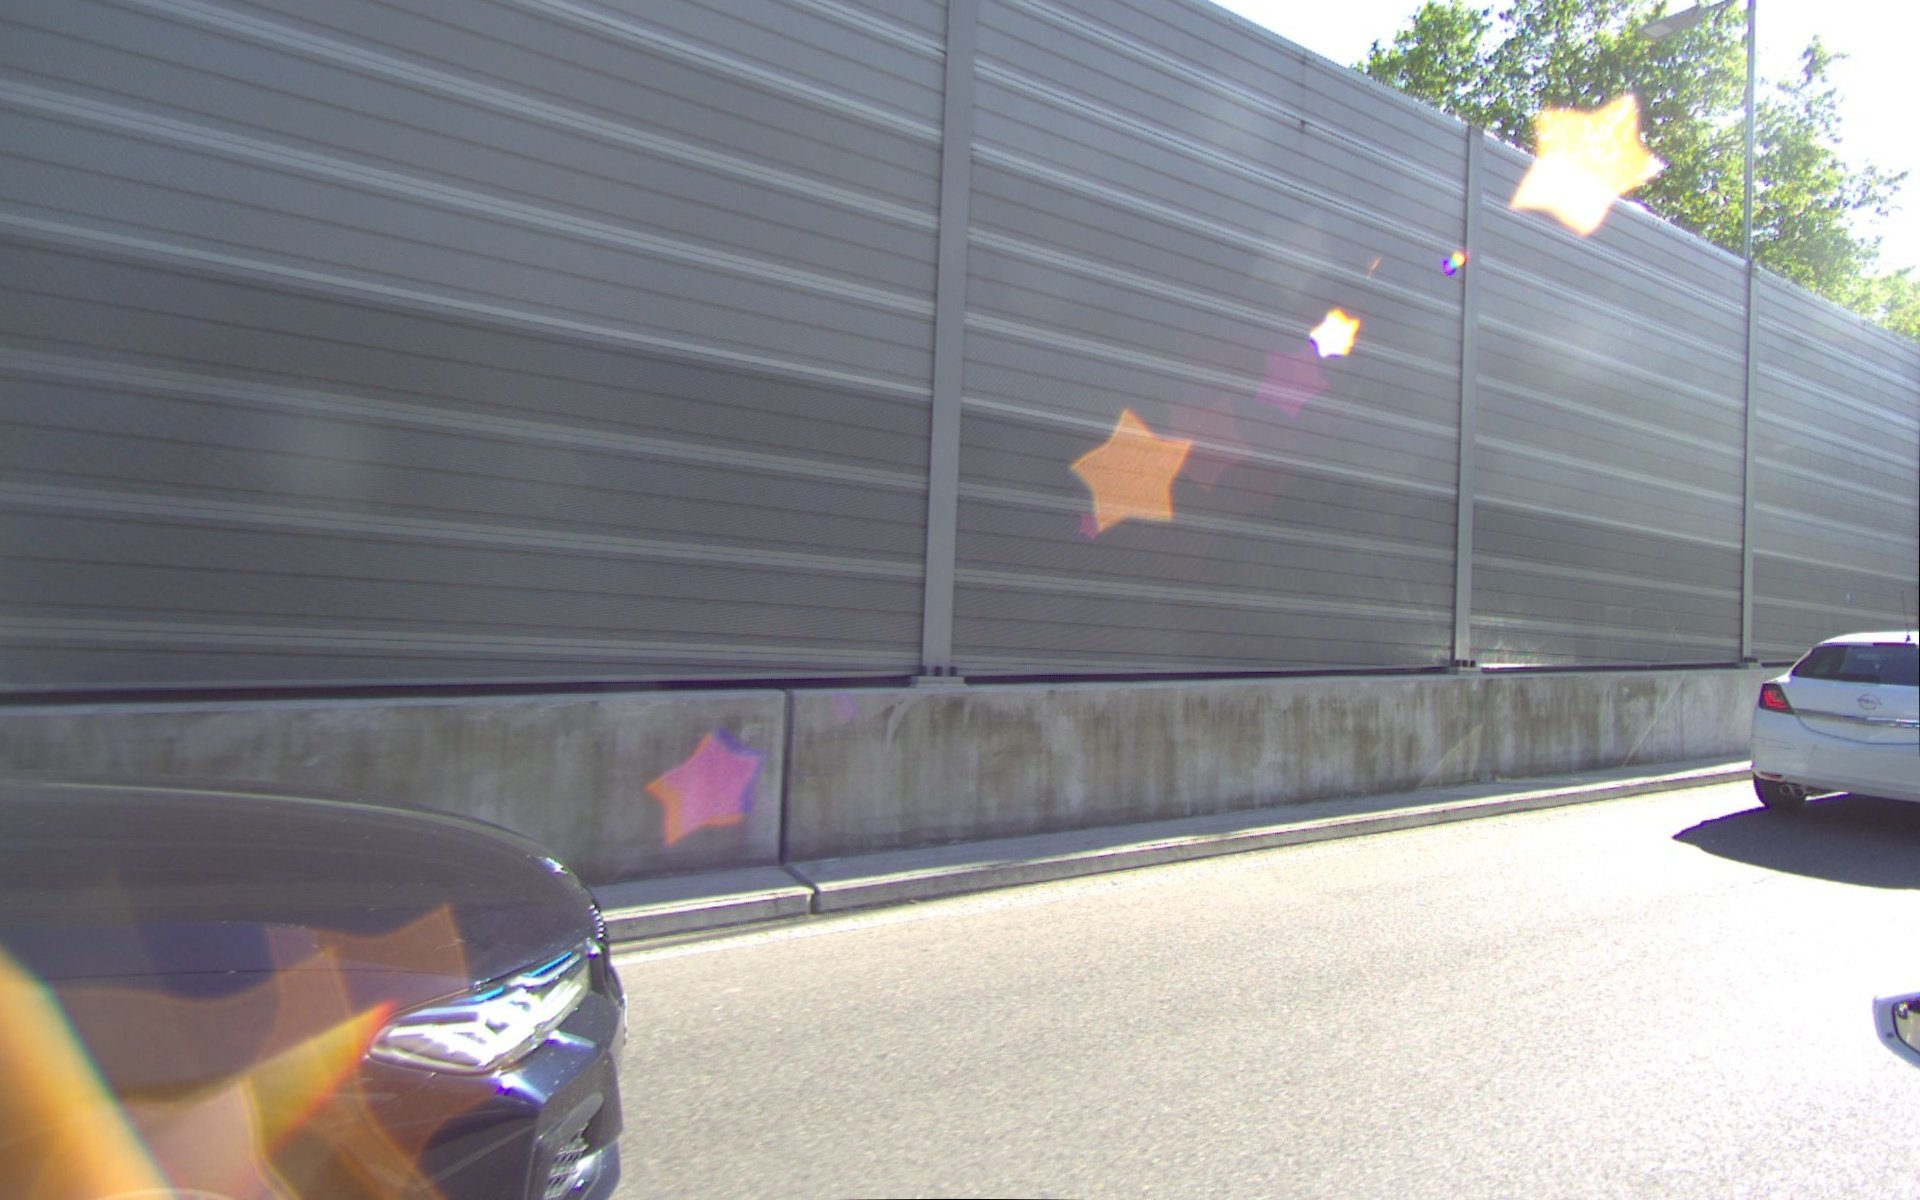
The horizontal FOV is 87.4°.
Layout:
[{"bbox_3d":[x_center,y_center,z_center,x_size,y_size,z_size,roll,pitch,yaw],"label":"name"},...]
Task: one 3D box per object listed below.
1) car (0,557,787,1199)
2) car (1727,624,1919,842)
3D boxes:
[{"bbox_3d":[-2.917,0.635,1.469,4.944,1.458,1.800,1,0,-31],"label":"car"},{"bbox_3d":[7.920,0.960,7.935,3.807,1.422,1.611,2,0,-30],"label":"car"}]
